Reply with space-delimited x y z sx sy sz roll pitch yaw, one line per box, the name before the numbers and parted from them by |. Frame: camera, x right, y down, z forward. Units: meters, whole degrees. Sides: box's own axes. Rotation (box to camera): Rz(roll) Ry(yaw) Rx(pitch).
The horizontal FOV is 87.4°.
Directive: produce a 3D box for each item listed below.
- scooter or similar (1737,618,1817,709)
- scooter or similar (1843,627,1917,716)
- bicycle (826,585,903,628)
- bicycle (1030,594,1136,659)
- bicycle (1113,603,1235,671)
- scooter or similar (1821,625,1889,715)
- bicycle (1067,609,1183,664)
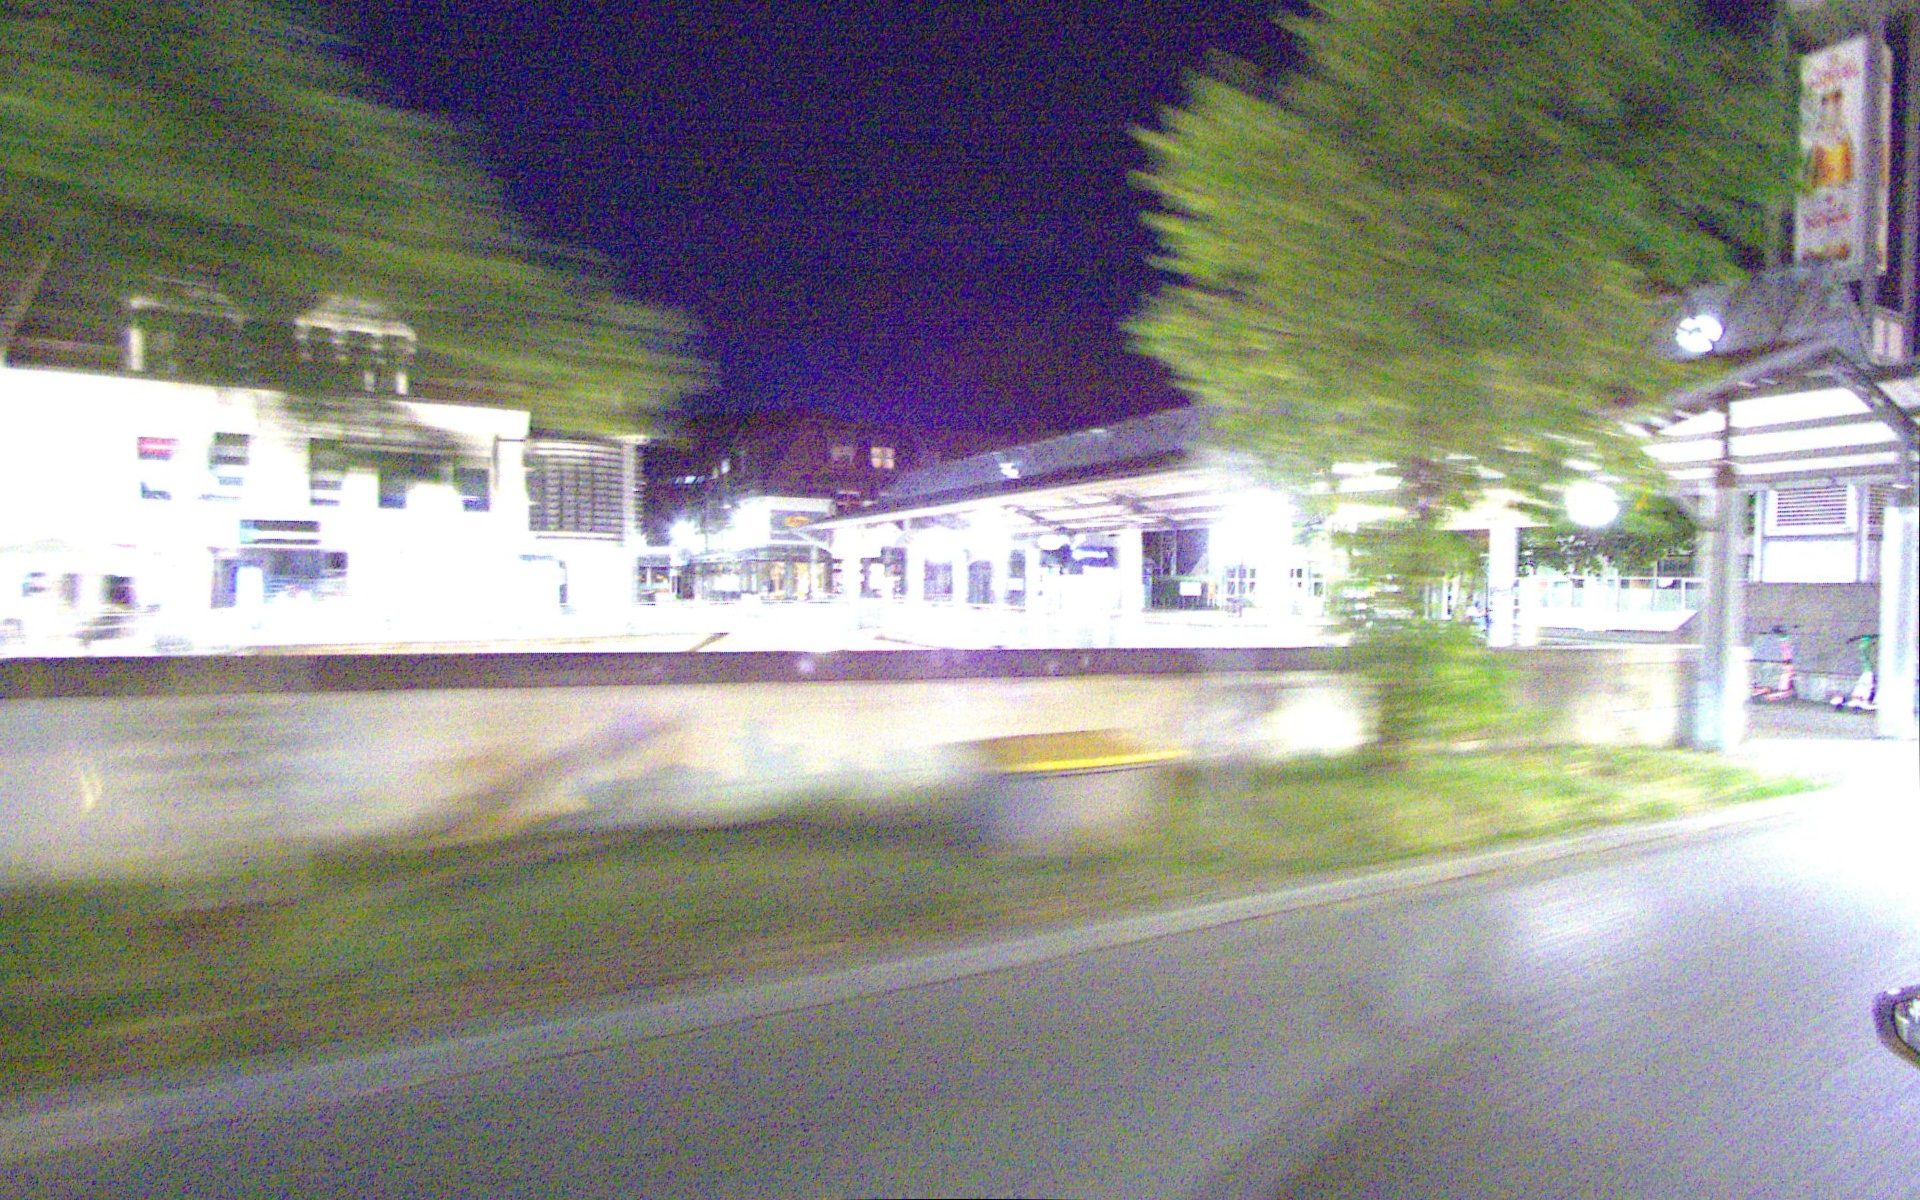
scooter or similar | 13.445 1.017 16.523 1.336 1.398 0.593 -1 1 -30
scooter or similar | 14.086 1.072 15.374 1.431 1.281 0.367 0 2 -29
bicycle | -3.235 0.236 34.023 2.482 1.382 0.769 2 0 -32
bicycle | 2.783 0.599 22.599 2.386 1.382 0.758 2 0 -32
bicycle | 4.268 0.730 19.993 2.439 1.271 0.854 2 0 -32
scooter or similar | 13.937 1.068 15.635 1.431 1.306 0.315 0 2 -30
bicycle | 3.519 0.780 21.325 2.455 1.101 0.854 2 0 -32
